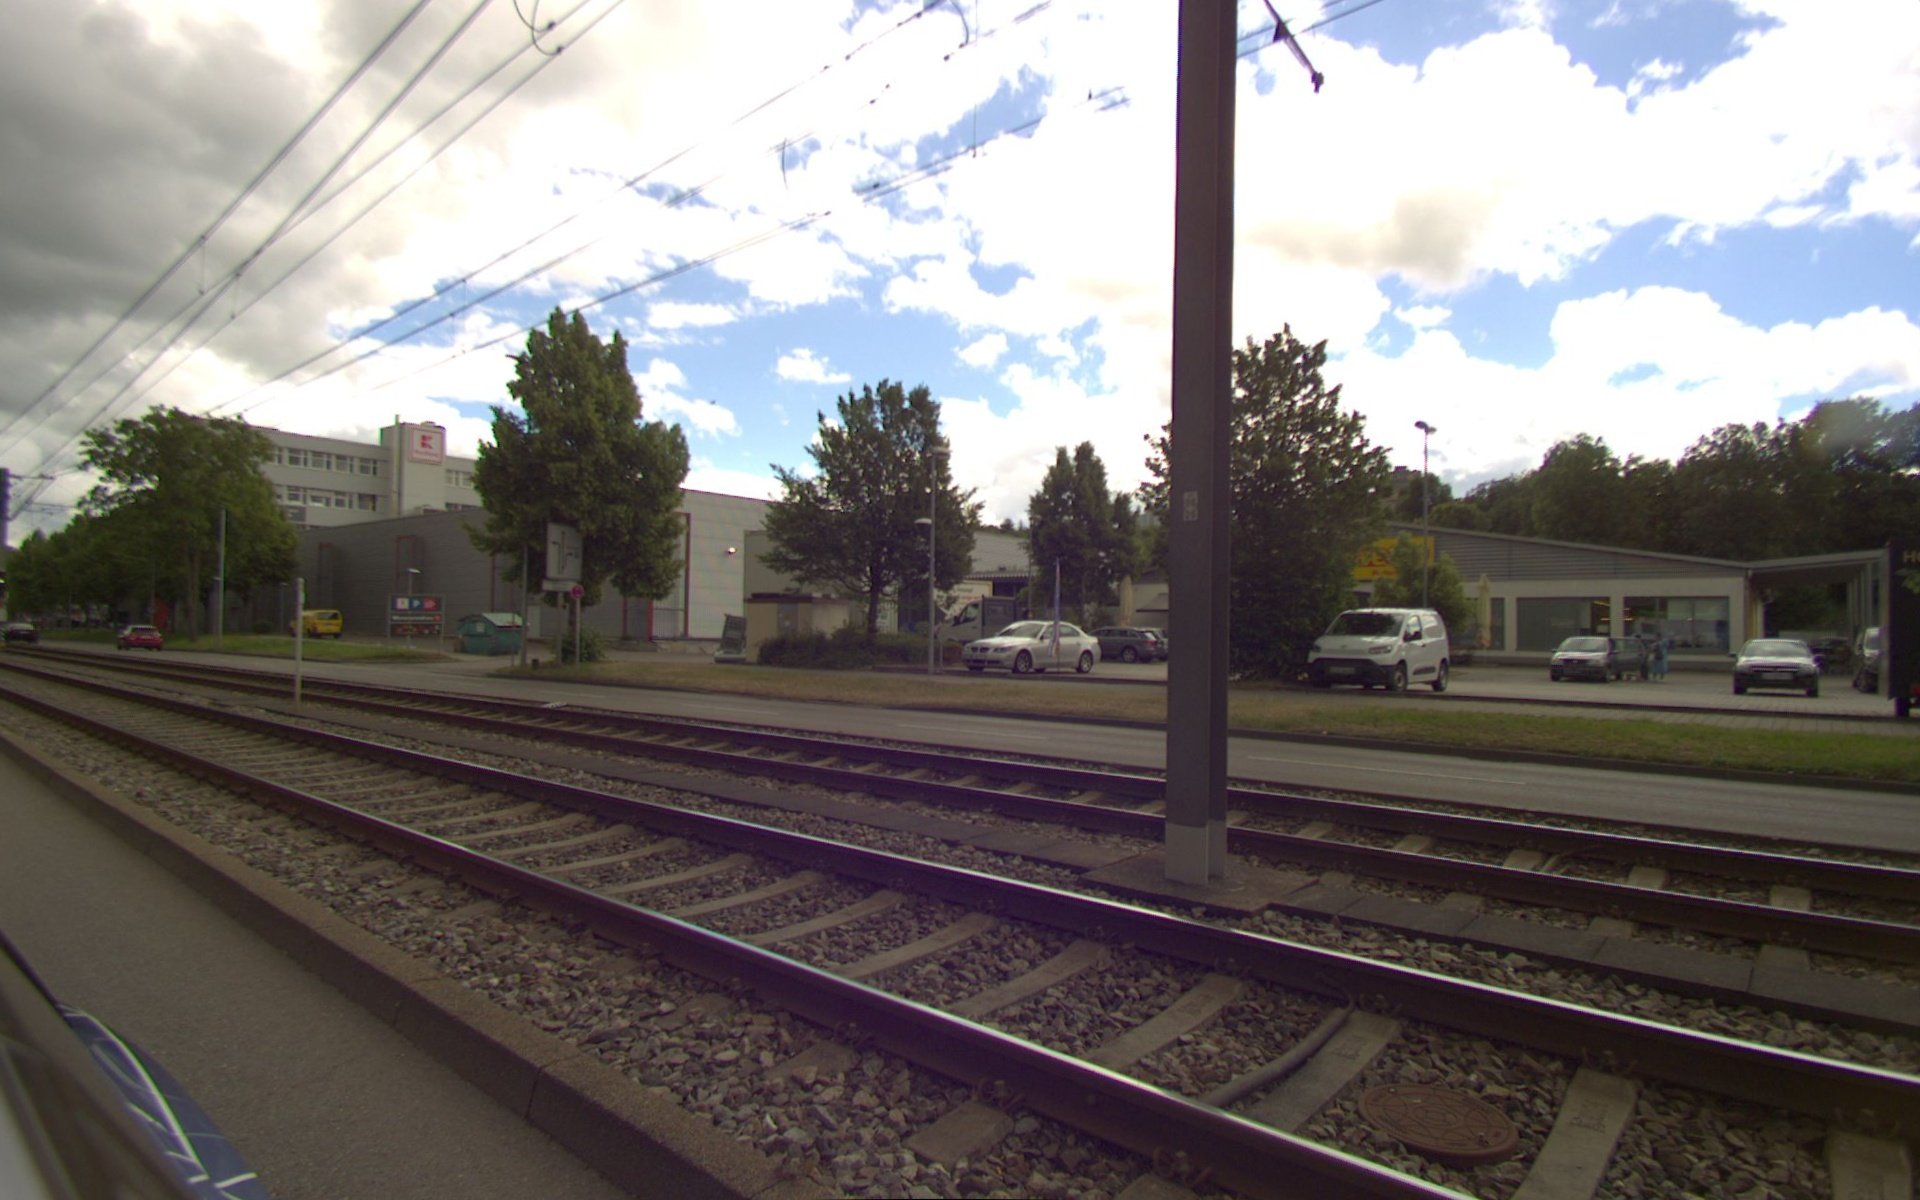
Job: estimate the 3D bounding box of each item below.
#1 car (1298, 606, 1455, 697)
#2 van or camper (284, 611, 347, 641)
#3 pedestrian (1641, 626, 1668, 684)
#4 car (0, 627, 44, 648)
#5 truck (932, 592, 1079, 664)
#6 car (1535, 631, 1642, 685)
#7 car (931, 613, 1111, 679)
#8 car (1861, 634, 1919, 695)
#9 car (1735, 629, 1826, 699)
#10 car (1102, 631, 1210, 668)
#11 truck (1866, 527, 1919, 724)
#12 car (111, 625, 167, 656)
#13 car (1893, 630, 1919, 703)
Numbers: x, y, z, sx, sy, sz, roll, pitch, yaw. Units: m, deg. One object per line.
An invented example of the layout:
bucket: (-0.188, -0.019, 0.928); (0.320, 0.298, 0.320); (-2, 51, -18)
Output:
car: (8.990, 1.082, 21.658); (1.993, 1.740, 4.179); (-1, -3, 39)
van or camper: (-44.958, 1.845, 70.538); (5.235, 2.029, 2.083); (-1, -2, 38)
pedestrian: (22.757, 1.789, 33.158); (0.663, 1.869, 0.539); (-1, -3, 41)
car: (-67.982, 2.720, 73.343); (4.440, 1.412, 1.741); (-1, -5, 40)
truck: (1.573, 1.032, 36.573); (5.261, 2.401, 1.973); (-1, -3, 41)
car: (20.807, 1.877, 33.443); (2.465, 1.652, 3.881); (-1, -3, 40)
car: (1.760, 1.270, 28.033); (2.651, 1.641, 4.730); (-2, -3, 41)
car: (26.900, 1.814, 28.825); (1.687, 1.652, 3.881); (-1, -3, 40)
car: (21.234, 1.617, 26.173); (1.687, 1.652, 3.881); (-1, -3, 40)
car: (7.850, 1.956, 40.701); (3.991, 1.411, 1.596); (-1, -3, 36)
truck: (15.787, 0.417, 15.619); (2.373, 2.843, 3.948); (-1, -3, 38)
car: (-48.388, 2.355, 59.599); (3.996, 1.785, 1.774); (-1, -2, 39)
car: (23.603, 1.581, 24.205); (1.687, 1.652, 3.881); (-1, -3, 40)
